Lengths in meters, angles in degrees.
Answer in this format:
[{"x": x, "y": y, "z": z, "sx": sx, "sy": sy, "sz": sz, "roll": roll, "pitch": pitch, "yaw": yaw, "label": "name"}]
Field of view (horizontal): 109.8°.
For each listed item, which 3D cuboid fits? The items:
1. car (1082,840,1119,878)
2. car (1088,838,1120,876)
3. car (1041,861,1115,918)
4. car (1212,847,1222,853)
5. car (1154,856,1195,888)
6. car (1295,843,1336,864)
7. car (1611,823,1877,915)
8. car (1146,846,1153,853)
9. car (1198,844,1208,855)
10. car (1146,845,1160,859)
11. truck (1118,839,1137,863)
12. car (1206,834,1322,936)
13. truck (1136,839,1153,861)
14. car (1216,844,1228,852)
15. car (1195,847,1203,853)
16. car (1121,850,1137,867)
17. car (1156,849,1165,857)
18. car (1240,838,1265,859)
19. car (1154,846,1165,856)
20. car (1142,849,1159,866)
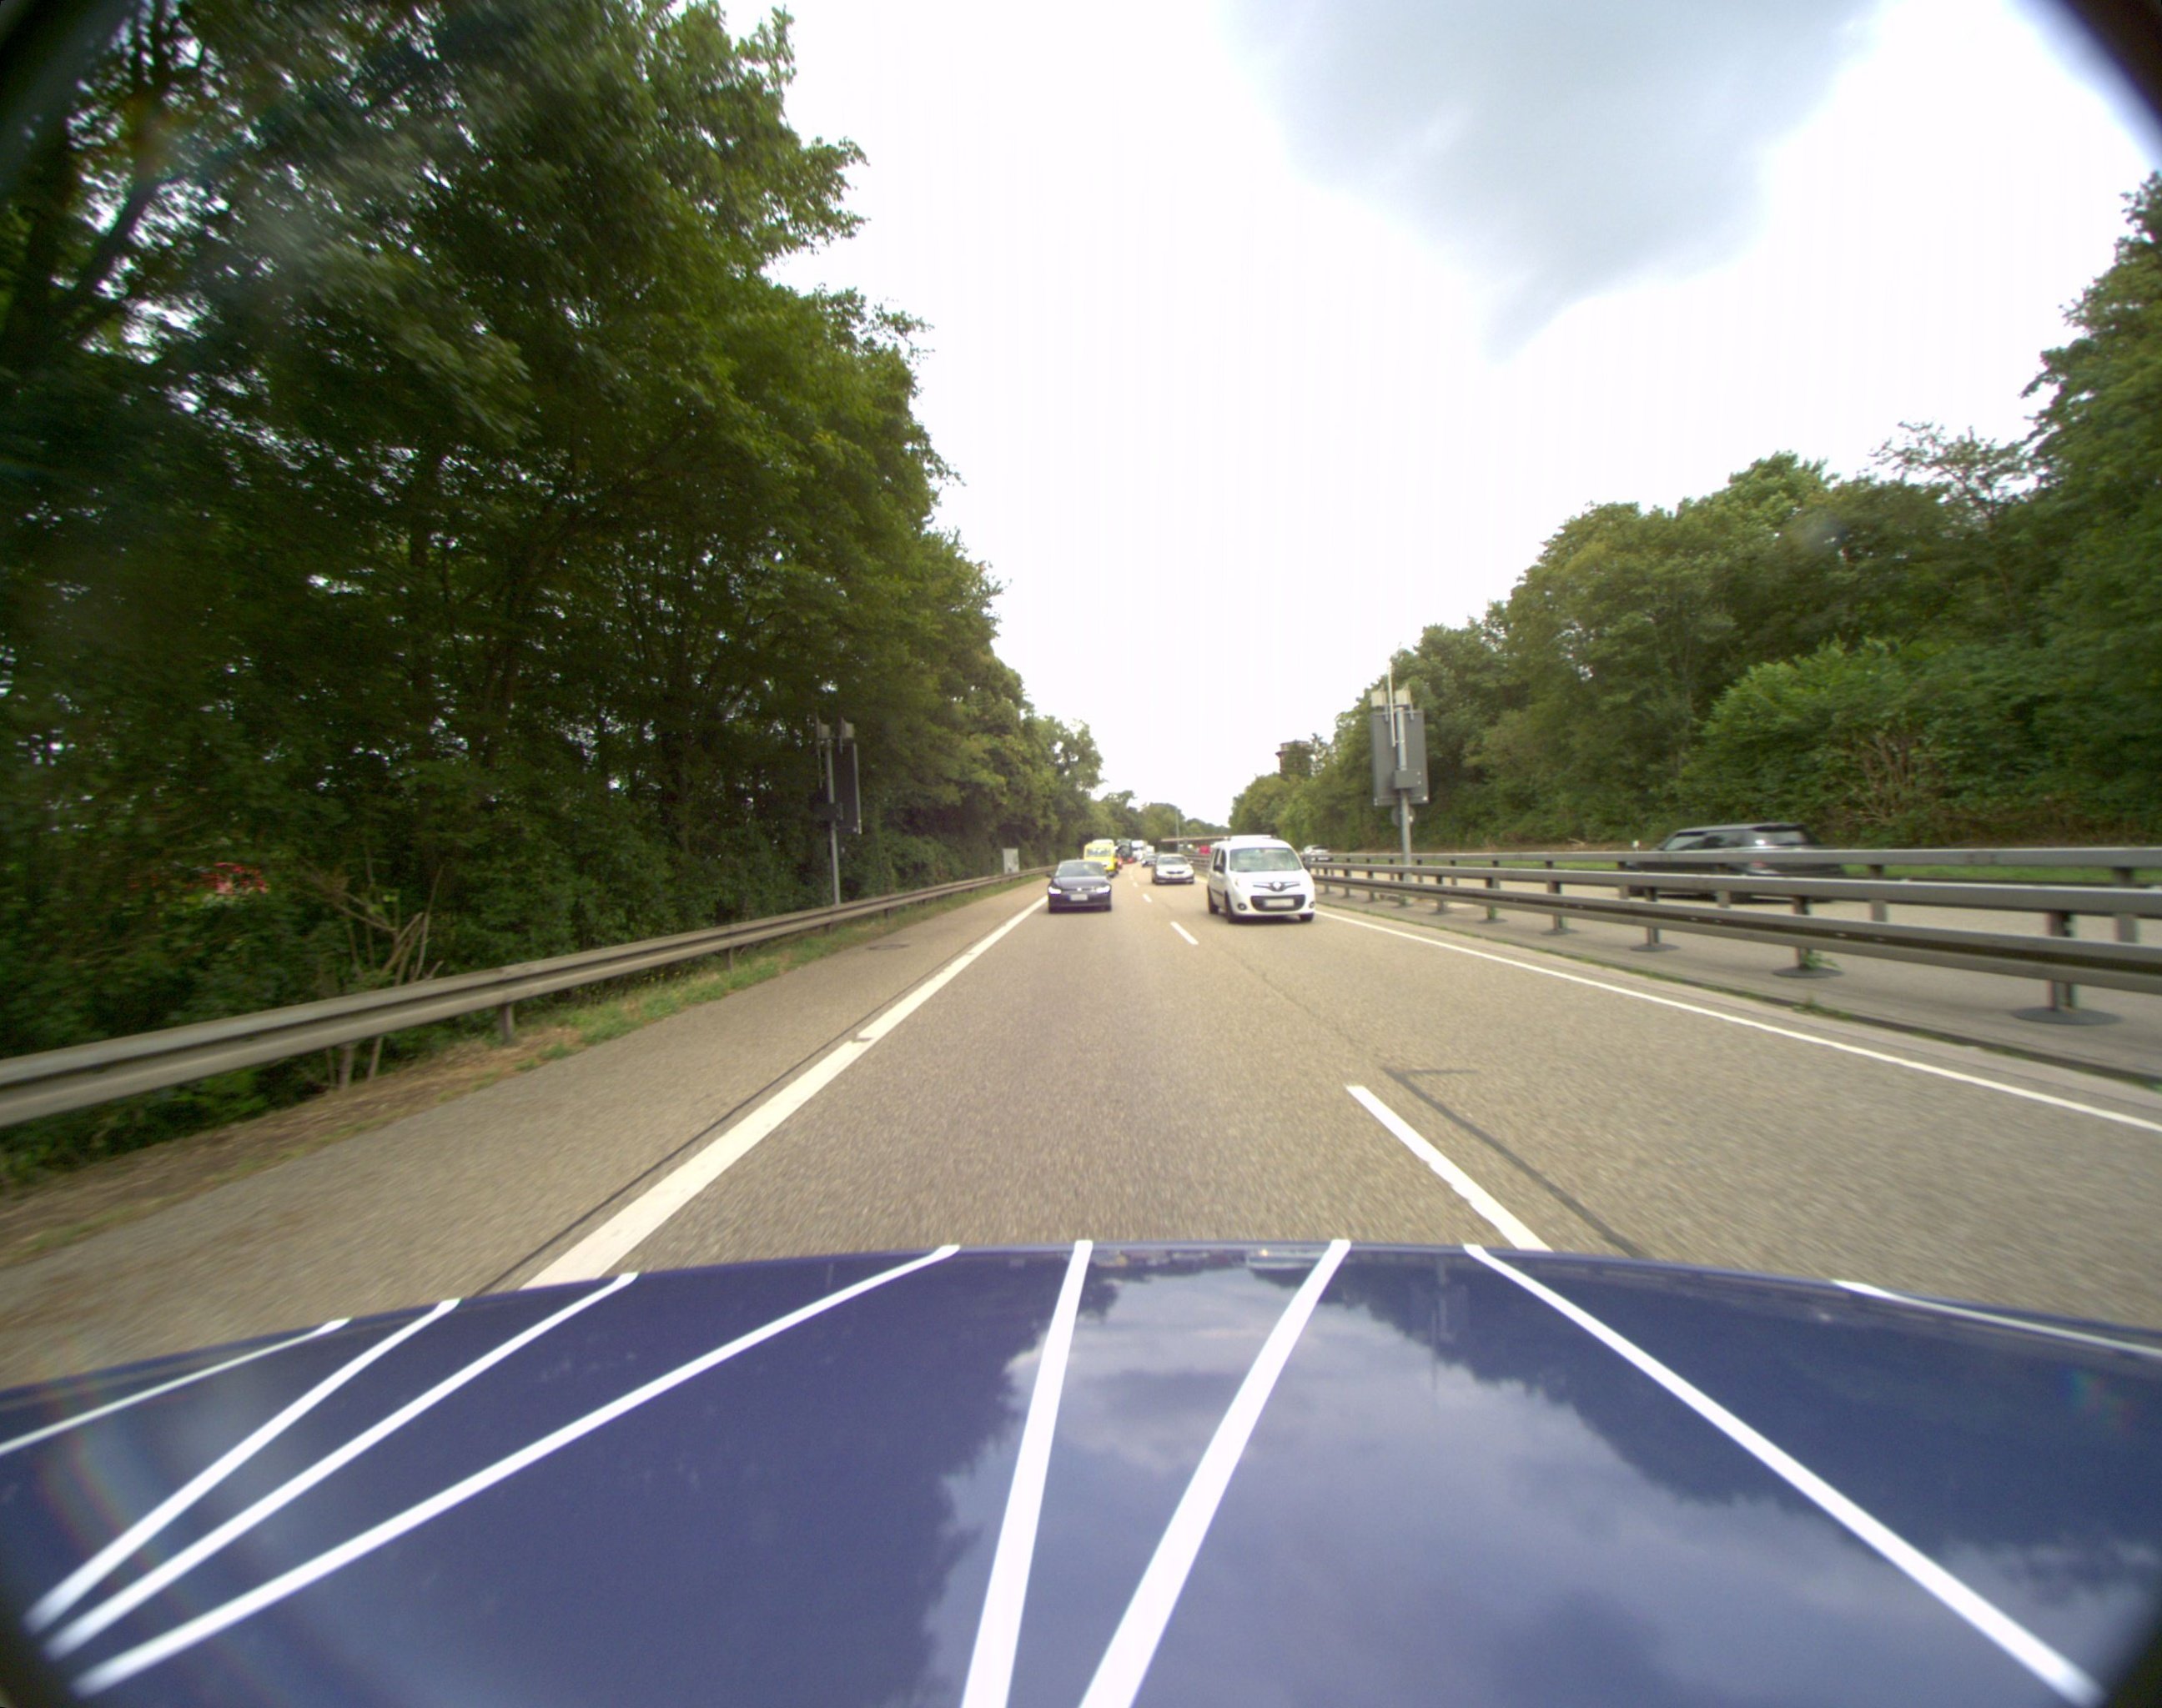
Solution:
[{"x": 1.337, "y": 0.289, "z": 50.050, "sx": 2.247, "sy": 2.334, "sz": 5.225, "roll": -1, "pitch": 0, "yaw": 3, "label": "car"}, {"x": 1.845, "y": 0.177, "z": 58.626, "sx": 2.207, "sy": 2.732, "sz": 6.168, "roll": -1, "pitch": 0, "yaw": 3, "label": "car"}, {"x": 0.020, "y": 0.953, "z": 22.183, "sx": 1.800, "sy": 1.398, "sz": 4.640, "roll": -1, "pitch": 0, "yaw": 4, "label": "car"}, {"x": 34.237, "y": -1.067, "z": 190.858, "sx": 1.998, "sy": 1.492, "sz": 4.001, "roll": -1, "pitch": 0, "yaw": 4, "label": "car"}, {"x": 4.574, "y": 0.829, "z": 37.653, "sx": 1.772, "sy": 1.416, "sz": 4.199, "roll": -1, "pitch": 0, "yaw": 4, "label": "car"}, {"x": 17.676, "y": -0.058, "z": 57.448, "sx": 1.998, "sy": 1.472, "sz": 4.132, "roll": -1, "pitch": 0, "yaw": 2, "label": "car"}, {"x": 12.078, "y": 0.236, "z": 14.222, "sx": 1.713, "sy": 1.438, "sz": 3.776, "roll": -1, "pitch": 0, "yaw": 1, "label": "car"}, {"x": 17.139, "y": -1.150, "z": 189.587, "sx": 1.680, "sy": 1.840, "sz": 4.001, "roll": -1, "pitch": 0, "yaw": 6, "label": "car"}, {"x": 26.532, "y": -1.027, "z": 164.930, "sx": 2.070, "sy": 2.243, "sz": 5.378, "roll": -1, "pitch": 0, "yaw": 8, "label": "car"}, {"x": 9.625, "y": -0.260, "z": 102.260, "sx": 1.677, "sy": 1.763, "sz": 3.938, "roll": -1, "pitch": 0, "yaw": 3, "label": "car"}, {"x": 7.472, "y": -0.456, "z": 120.888, "sx": 2.547, "sy": 3.564, "sz": 6.459, "roll": -1, "pitch": 0, "yaw": 6, "label": "truck"}, {"x": 3.979, "y": 0.607, "z": 17.239, "sx": 1.821, "sy": 1.993, "sz": 4.424, "roll": -1, "pitch": 0, "yaw": 4, "label": "car"}, {"x": 13.260, "y": -0.853, "z": 158.598, "sx": 3.098, "sy": 4.462, "sz": 12.214, "roll": -1, "pitch": 0, "yaw": 6, "label": "truck"}, {"x": 26.208, "y": -1.102, "z": 141.145, "sx": 1.997, "sy": 1.501, "sz": 4.508, "roll": -1, "pitch": 0, "yaw": 11, "label": "car"}, {"x": 30.296, "y": -1.044, "z": 195.258, "sx": 1.785, "sy": 1.554, "sz": 4.016, "roll": -1, "pitch": 0, "yaw": 4, "label": "car"}, {"x": 5.017, "y": 0.465, "z": 79.693, "sx": 1.677, "sy": 1.763, "sz": 3.938, "roll": -1, "pitch": 0, "yaw": 3, "label": "car"}, {"x": 17.621, "y": -0.271, "z": 168.696, "sx": 1.815, "sy": 1.840, "sz": 4.001, "roll": -1, "pitch": 0, "yaw": 6, "label": "car"}, {"x": 19.709, "y": -0.641, "z": 87.582, "sx": 1.940, "sy": 2.308, "sz": 5.306, "roll": -1, "pitch": 0, "yaw": 4, "label": "car"}, {"x": 14.072, "y": -0.546, "z": 136.596, "sx": 1.815, "sy": 1.840, "sz": 4.001, "roll": -1, "pitch": 0, "yaw": 6, "label": "car"}, {"x": 7.670, "y": 0.382, "z": 84.519, "sx": 1.677, "sy": 1.763, "sz": 3.938, "roll": -1, "pitch": 0, "yaw": 3, "label": "car"}]
